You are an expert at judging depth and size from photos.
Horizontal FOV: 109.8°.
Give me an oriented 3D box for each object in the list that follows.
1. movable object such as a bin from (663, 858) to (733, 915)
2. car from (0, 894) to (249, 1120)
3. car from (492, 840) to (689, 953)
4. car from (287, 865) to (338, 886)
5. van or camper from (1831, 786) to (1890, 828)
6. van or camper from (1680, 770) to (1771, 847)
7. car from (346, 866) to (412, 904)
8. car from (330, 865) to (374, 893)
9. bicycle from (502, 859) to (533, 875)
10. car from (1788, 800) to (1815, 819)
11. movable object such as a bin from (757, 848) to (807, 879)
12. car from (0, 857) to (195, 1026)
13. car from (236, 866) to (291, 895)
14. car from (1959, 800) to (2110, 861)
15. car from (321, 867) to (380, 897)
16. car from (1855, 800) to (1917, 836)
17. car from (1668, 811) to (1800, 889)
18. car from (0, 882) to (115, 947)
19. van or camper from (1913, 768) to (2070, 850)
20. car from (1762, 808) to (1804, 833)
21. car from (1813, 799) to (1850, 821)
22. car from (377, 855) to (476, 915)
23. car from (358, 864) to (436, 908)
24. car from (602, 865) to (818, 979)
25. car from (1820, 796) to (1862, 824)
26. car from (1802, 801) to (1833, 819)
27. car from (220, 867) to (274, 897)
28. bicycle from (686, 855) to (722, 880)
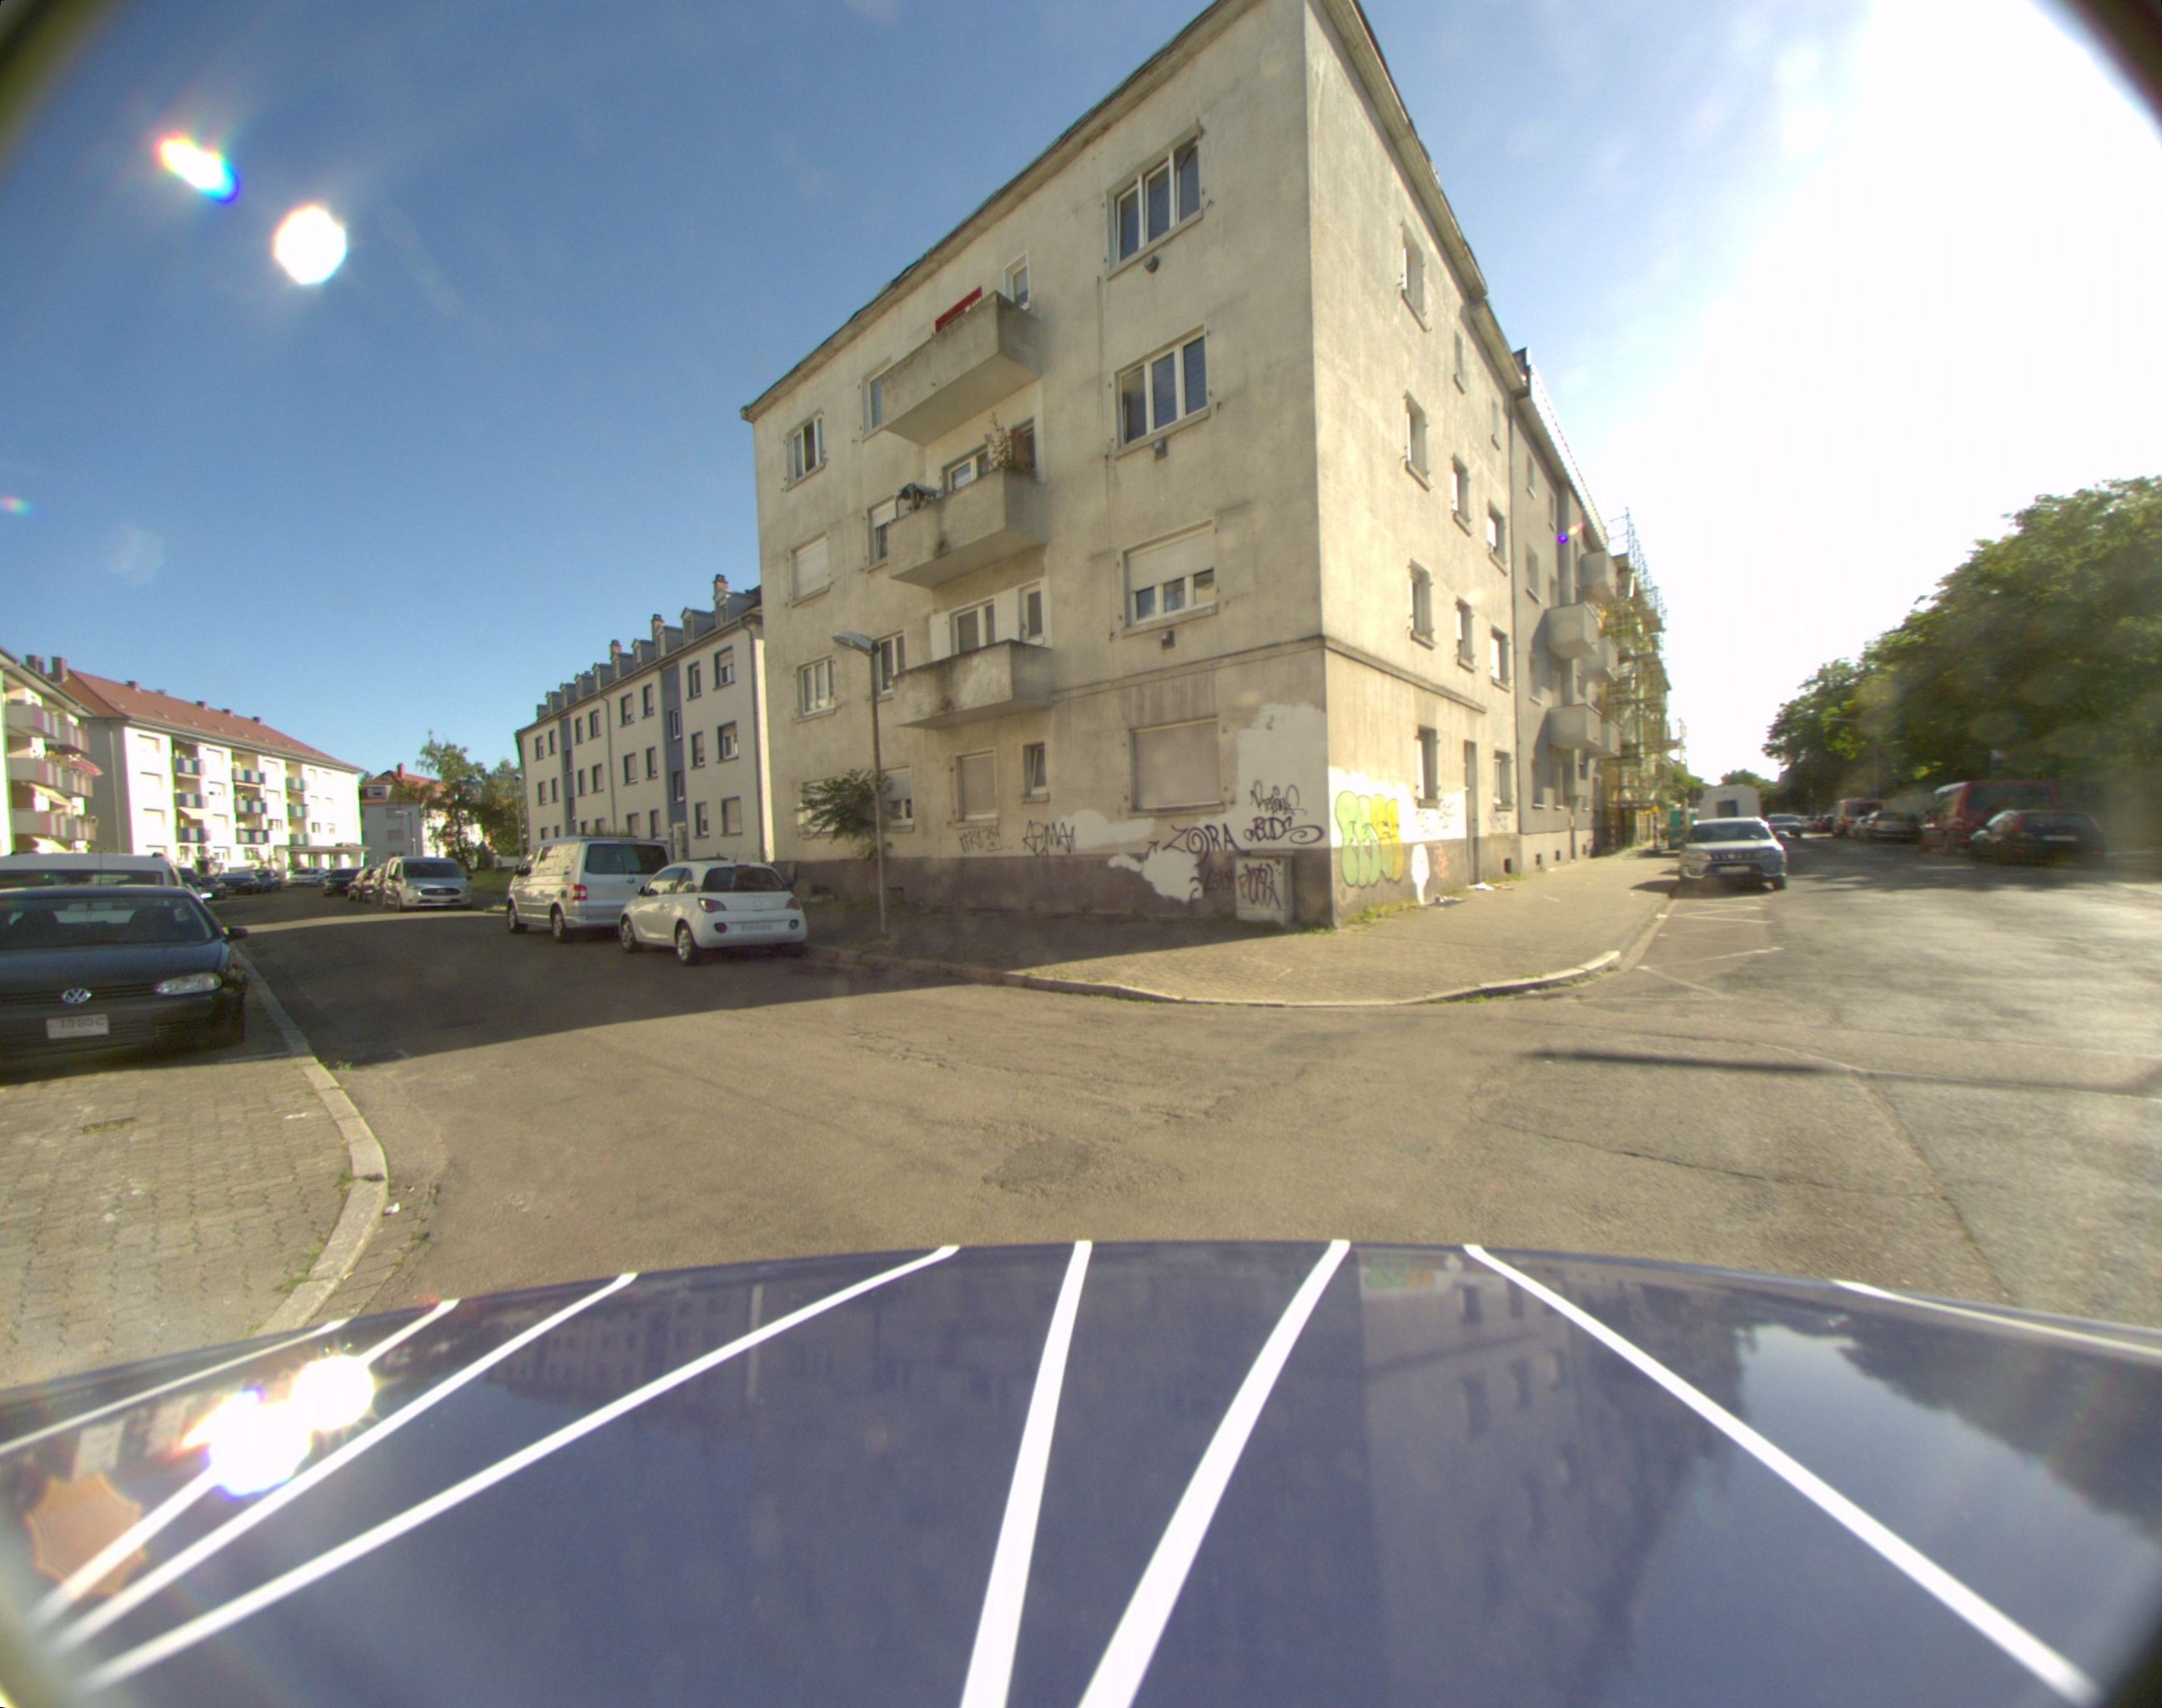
[{"bbox_3d":[-10.168,0.844,20.177,1.042,1.369,1.262,-1,3,40],"label":"movable object such as a bin"},{"bbox_3d":[-8.733,1.131,6.634,4.037,1.406,1.807,-1,0,40],"label":"car"},{"bbox_3d":[-9.995,0.755,15.316,4.842,1.922,1.961,-1,0,40],"label":"car"},{"bbox_3d":[-64.202,1.738,63.545,1.761,1.625,4.395,-2,0,-29],"label":"car"},{"bbox_3d":[49.475,-2.963,48.307,2.121,2.485,4.007,-1,2,39],"label":"van or camper"},{"bbox_3d":[29.432,-2.005,34.763,2.951,3.162,6.184,0,2,40],"label":"van or camper"},{"bbox_3d":[-29.822,1.282,32.246,3.691,1.510,1.653,-1,-1,41],"label":"car"},{"bbox_3d":[-41.761,1.406,43.501,1.751,1.507,3.971,0,0,-44],"label":"car"},{"bbox_3d":[-41.835,0.983,56.431,1.738,0.984,0.461,-8,5,-34],"label":"bicycle"},{"bbox_3d":[80.928,-4.985,85.373,1.994,2.002,4.007,-1,2,40],"label":"car"},{"bbox_3d":[-10.191,0.296,25.873,1.200,0.994,1.135,0,2,41],"label":"movable object such as a bin"},{"bbox_3d":[-13.181,0.983,10.024,4.526,1.835,1.807,-1,0,42],"label":"car"},{"bbox_3d":[-57.041,1.805,53.099,1.760,1.726,3.989,-9,5,-37],"label":"car"},{"bbox_3d":[24.917,-0.648,20.027,1.648,1.409,4.007,-2,2,39],"label":"car"},{"bbox_3d":[-37.353,1.396,38.826,4.383,1.450,1.910,-1,0,43],"label":"car"},{"bbox_3d":[40.956,-1.862,38.751,1.648,1.674,4.007,-1,2,39],"label":"car"},{"bbox_3d":[14.912,-0.141,17.502,2.065,1.544,4.007,-2,2,39],"label":"car"},{"bbox_3d":[-26.328,1.486,19.529,4.301,1.398,1.751,-1,1,39],"label":"car"},{"bbox_3d":[28.903,-1.414,24.357,2.207,2.268,5.319,-2,2,39],"label":"van or camper"},{"bbox_3d":[48.567,-2.313,52.599,1.858,1.543,4.007,-1,2,39],"label":"car"},{"bbox_3d":[67.366,-3.957,68.253,1.994,1.774,4.007,-1,2,40],"label":"car"},{"bbox_3d":[-21.843,0.985,25.290,4.934,1.819,1.809,-1,0,41],"label":"car"},{"bbox_3d":[-26.243,1.179,29.112,4.152,1.581,1.682,-1,-2,40],"label":"car"},{"bbox_3d":[-5.855,0.928,11.810,3.711,1.450,1.695,-1,1,42],"label":"car"},{"bbox_3d":[59.419,-3.446,59.474,1.994,2.002,4.007,-1,2,40],"label":"car"},{"bbox_3d":[76.109,-4.543,78.571,1.994,1.739,4.007,-1,2,40],"label":"car"},{"bbox_3d":[-53.440,1.750,48.747,1.586,1.752,4.227,-2,1,-38],"label":"car"},{"bbox_3d":[-15.627,0.540,31.453,2.068,0.956,0.501,-1,6,42],"label":"bicycle"}]
